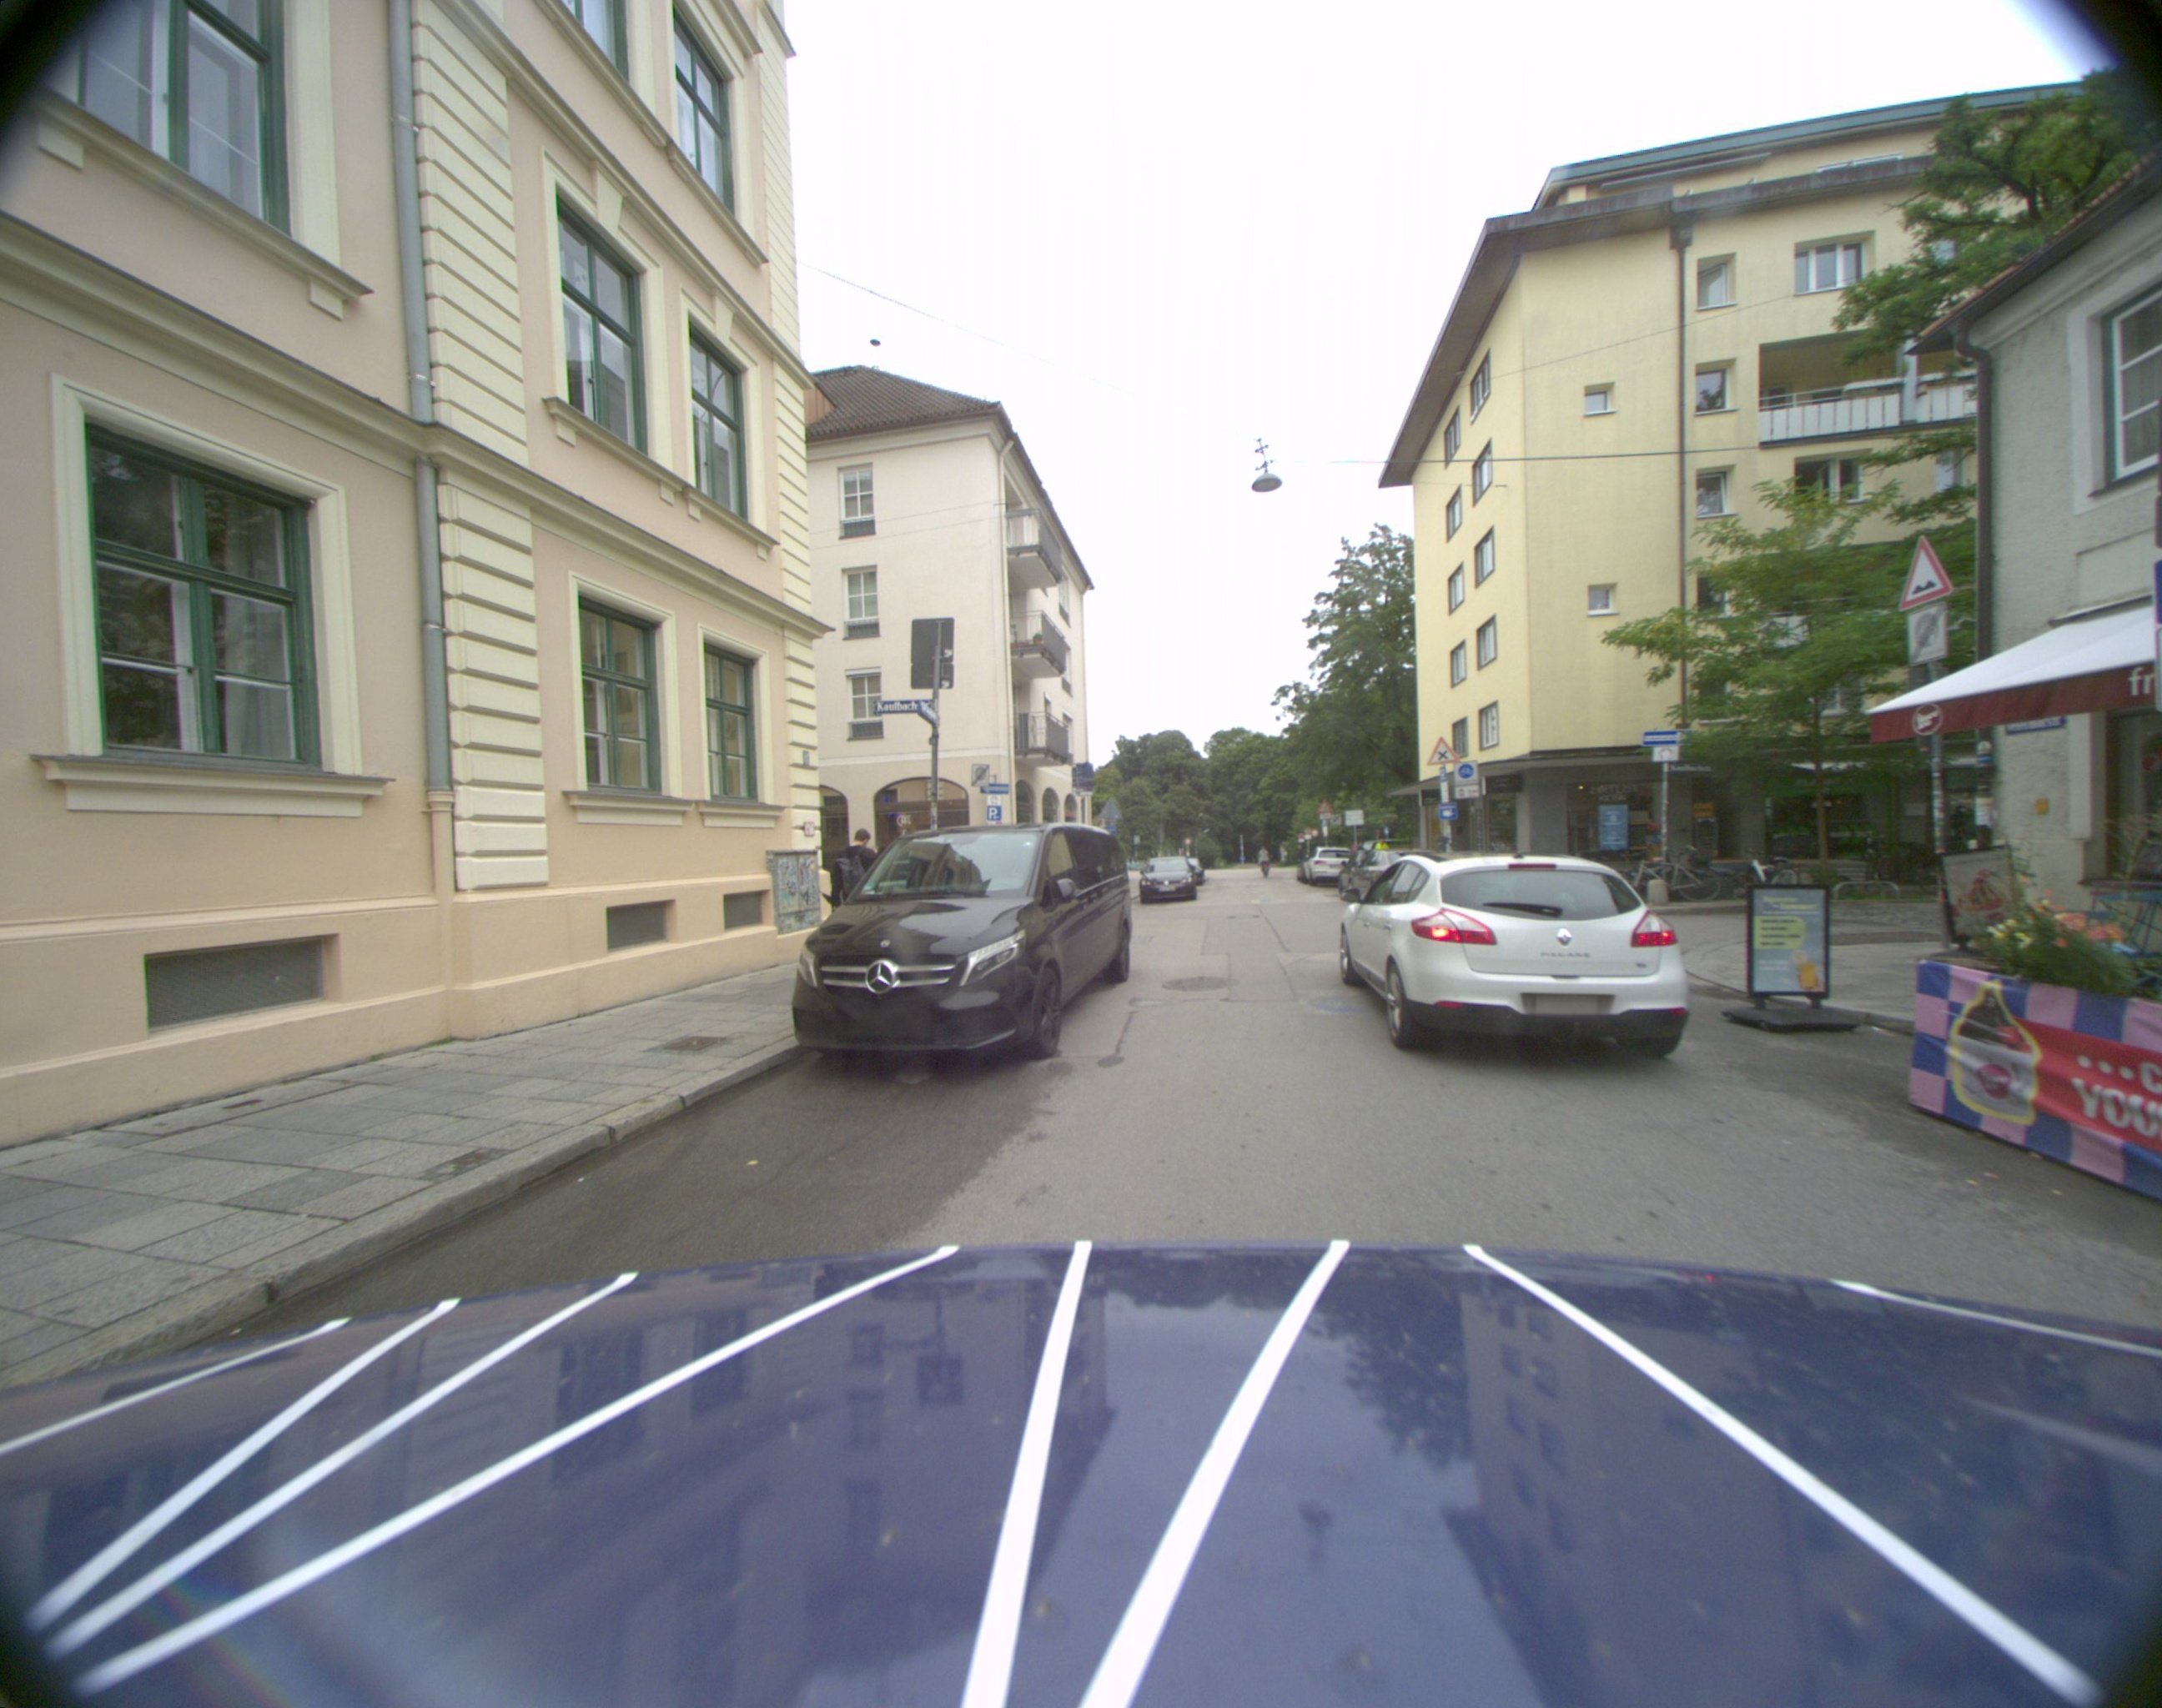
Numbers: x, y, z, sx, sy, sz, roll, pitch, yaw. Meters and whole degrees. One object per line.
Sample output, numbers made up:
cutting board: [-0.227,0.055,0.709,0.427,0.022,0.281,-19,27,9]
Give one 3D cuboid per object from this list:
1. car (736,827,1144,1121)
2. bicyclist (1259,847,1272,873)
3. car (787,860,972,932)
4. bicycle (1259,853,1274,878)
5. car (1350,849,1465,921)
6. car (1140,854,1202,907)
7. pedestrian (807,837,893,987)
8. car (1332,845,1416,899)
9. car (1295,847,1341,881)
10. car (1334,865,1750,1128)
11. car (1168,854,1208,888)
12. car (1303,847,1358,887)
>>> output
car: [-0.776,0.742,7.479,1.996,1.850,5.118,-2,1,13]
bicyclist: [10.555,0.329,43.451,0.650,1.466,0.767,-2,1,15]
car: [-4.873,1.003,18.645,3.994,1.557,1.713,-2,1,9]
bicycle: [10.657,0.640,43.629,0.688,1.371,2.400,-2,1,16]
car: [7.752,0.675,18.405,1.709,1.491,4.003,-2,1,11]
car: [3.041,0.817,25.044,1.709,1.491,4.003,-2,1,11]
pedestrian: [-2.869,0.701,9.502,0.697,1.792,0.730,-2,1,11]
car: [8.965,0.492,23.542,1.709,1.491,4.003,-2,1,11]
car: [11.749,0.475,37.902,1.709,1.550,4.003,-2,1,11]
car: [3.352,0.862,6.470,1.791,1.409,3.908,-1,1,11]
car: [5.379,0.819,37.888,1.709,1.491,4.003,-2,1,11]
car: [10.404,0.499,31.926,1.709,1.550,4.003,-2,1,11]
